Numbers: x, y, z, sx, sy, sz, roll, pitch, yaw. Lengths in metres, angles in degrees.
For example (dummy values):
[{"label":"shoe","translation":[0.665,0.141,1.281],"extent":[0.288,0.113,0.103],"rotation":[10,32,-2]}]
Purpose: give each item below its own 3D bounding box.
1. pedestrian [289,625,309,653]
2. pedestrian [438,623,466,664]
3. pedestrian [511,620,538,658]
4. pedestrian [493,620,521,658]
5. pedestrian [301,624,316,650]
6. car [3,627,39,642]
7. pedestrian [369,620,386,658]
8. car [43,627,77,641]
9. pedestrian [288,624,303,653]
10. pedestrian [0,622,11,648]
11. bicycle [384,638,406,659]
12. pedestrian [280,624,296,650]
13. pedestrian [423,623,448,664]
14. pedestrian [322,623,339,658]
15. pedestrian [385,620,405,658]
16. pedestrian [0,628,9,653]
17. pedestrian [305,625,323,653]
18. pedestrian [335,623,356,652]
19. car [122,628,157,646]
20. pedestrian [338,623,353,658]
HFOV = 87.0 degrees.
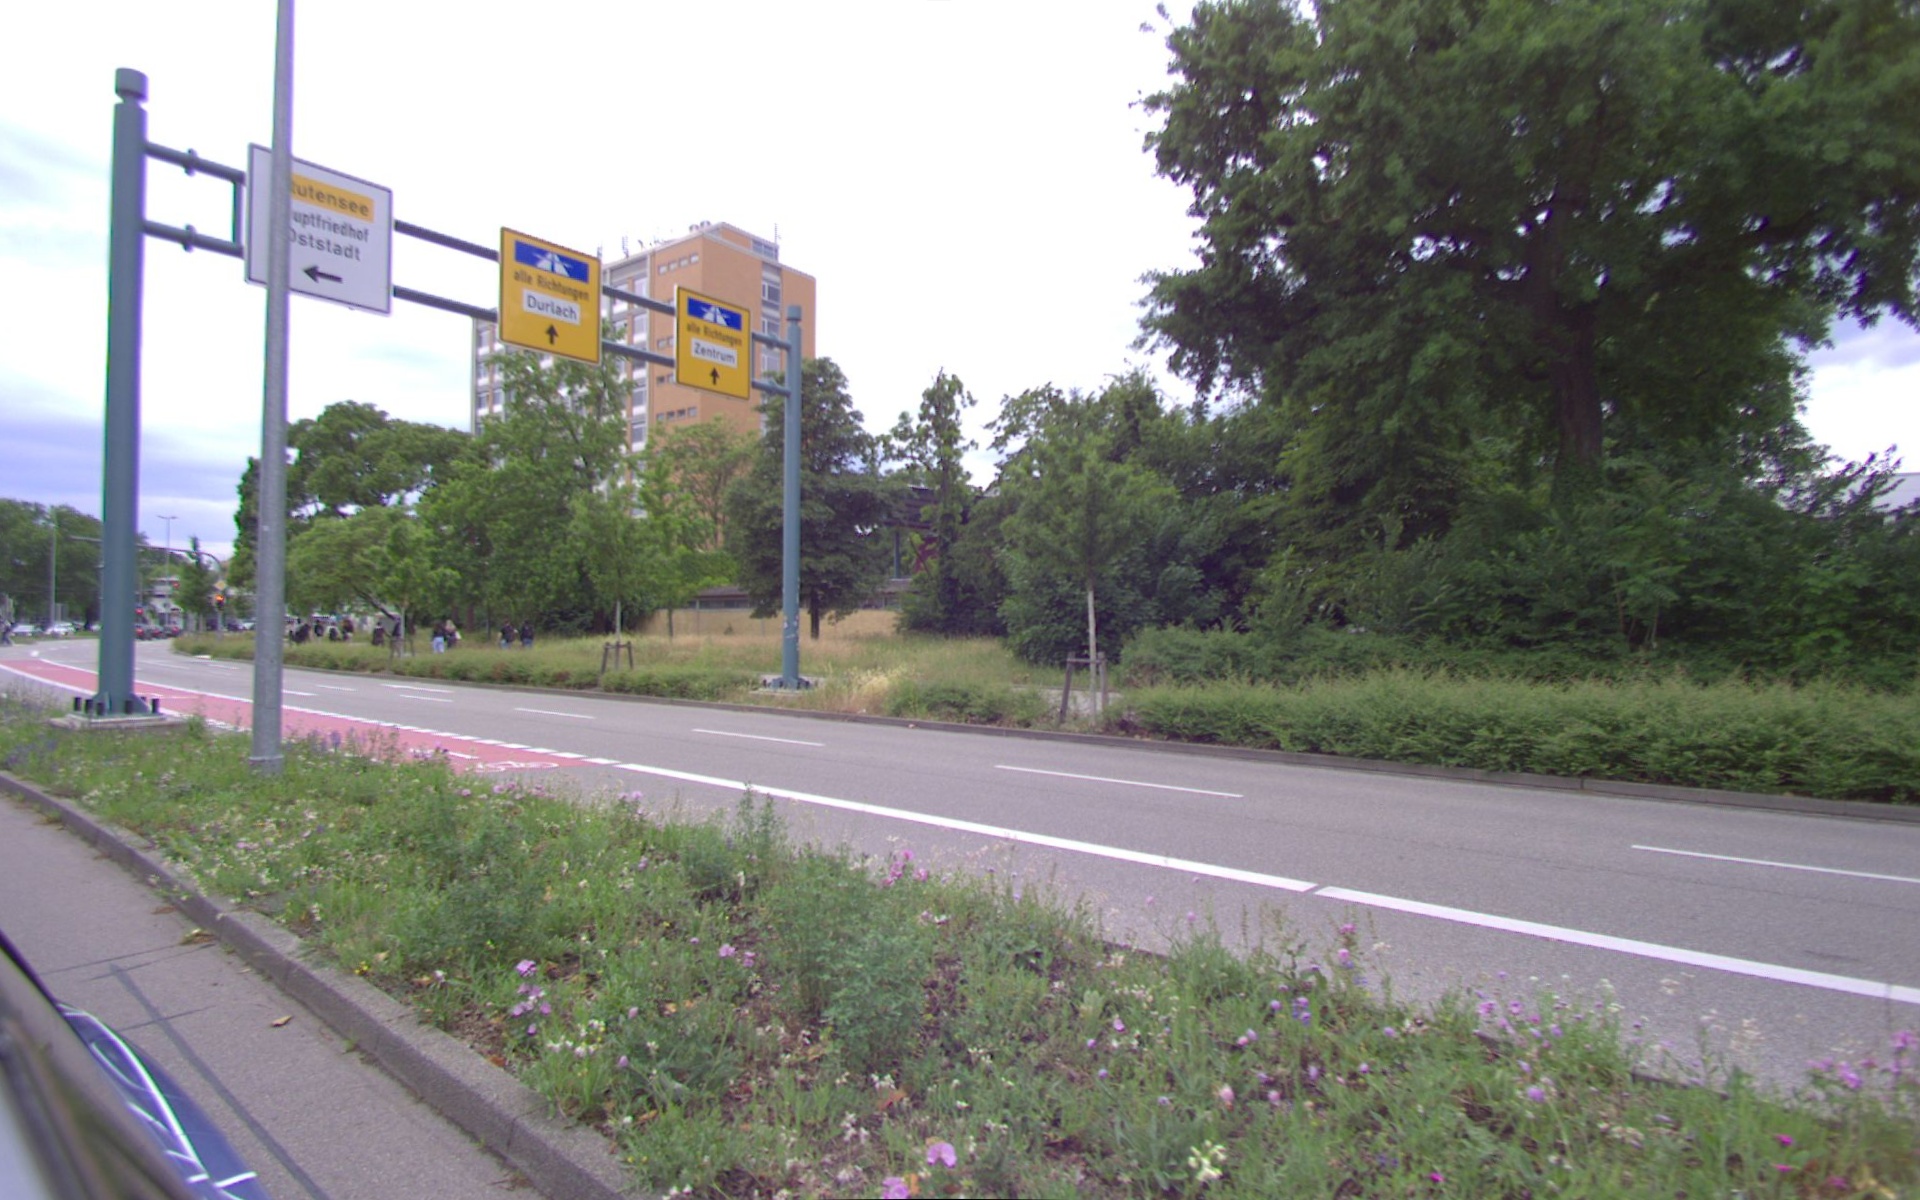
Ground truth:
[{"label":"pedestrian","translation":[-35.807,2.122,54.799],"extent":[0.813,1.491,0.720],"rotation":[-2,-4,45]},{"label":"pedestrian","translation":[-21.076,1.794,42.005],"extent":[0.766,1.685,0.700],"rotation":[-1,-4,35]},{"label":"pedestrian","translation":[-15.956,1.451,37.104],"extent":[0.680,1.373,0.638],"rotation":[-2,-4,39]},{"label":"pedestrian","translation":[-16.339,1.416,36.520],"extent":[0.711,1.368,0.638],"rotation":[-2,-4,40]},{"label":"pedestrian","translation":[-43.832,2.496,68.090],"extent":[0.890,1.683,0.698],"rotation":[-2,-1,45]},{"label":"car","translation":[-100.241,3.705,108.061],"extent":[1.582,1.608,3.771],"rotation":[2,-3,-24]},{"label":"pedestrian","translation":[-25.275,1.712,43.905],"extent":[0.567,1.621,0.618],"rotation":[3,-4,-33]},{"label":"car","translation":[-104.423,3.967,117.477],"extent":[1.774,1.608,3.771],"rotation":[2,-3,-24]},{"label":"pedestrian","translation":[-42.061,2.413,64.056],"extent":[0.762,1.815,0.630],"rotation":[-2,-3,45]},{"label":"pedestrian","translation":[-66.973,2.427,70.605],"extent":[0.735,1.818,0.763],"rotation":[0,-3,19]},{"label":"bicycle","translation":[-24.774,2.109,44.373],"extent":[0.652,0.894,1.719],"rotation":[3,-3,-34]},{"label":"pedestrian","translation":[-44.643,2.468,67.268],"extent":[0.943,1.683,0.698],"rotation":[-2,-2,45]},{"label":"pedestrian","translation":[-21.472,1.776,41.448],"extent":[0.719,1.673,0.580],"rotation":[-1,-4,35]},{"label":"pedestrian","translation":[-31.600,2.037,50.786],"extent":[0.613,1.708,0.748],"rotation":[3,-4,-35]},{"label":"pedestrian","translation":[-24.922,1.717,44.623],"extent":[0.652,1.644,0.765],"rotation":[3,-4,-34]},{"label":"pedestrian","translation":[-65.758,2.764,69.232],"extent":[0.705,1.680,0.769],"rotation":[-1,-4,33]},{"label":"pedestrian","translation":[-35.417,2.152,55.499],"extent":[0.762,1.491,0.628],"rotation":[-2,-4,45]},{"label":"pedestrian","translation":[-35.100,2.162,57.810],"extent":[0.824,1.625,0.631],"rotation":[-2,-1,20]},{"label":"car","translation":[-80.191,3.584,98.908],"extent":[1.785,1.680,3.962],"rotation":[2,-2,-27]},{"label":"pedestrian","translation":[-31.293,2.067,51.536],"extent":[0.571,1.725,0.763],"rotation":[3,-4,-36]}]
